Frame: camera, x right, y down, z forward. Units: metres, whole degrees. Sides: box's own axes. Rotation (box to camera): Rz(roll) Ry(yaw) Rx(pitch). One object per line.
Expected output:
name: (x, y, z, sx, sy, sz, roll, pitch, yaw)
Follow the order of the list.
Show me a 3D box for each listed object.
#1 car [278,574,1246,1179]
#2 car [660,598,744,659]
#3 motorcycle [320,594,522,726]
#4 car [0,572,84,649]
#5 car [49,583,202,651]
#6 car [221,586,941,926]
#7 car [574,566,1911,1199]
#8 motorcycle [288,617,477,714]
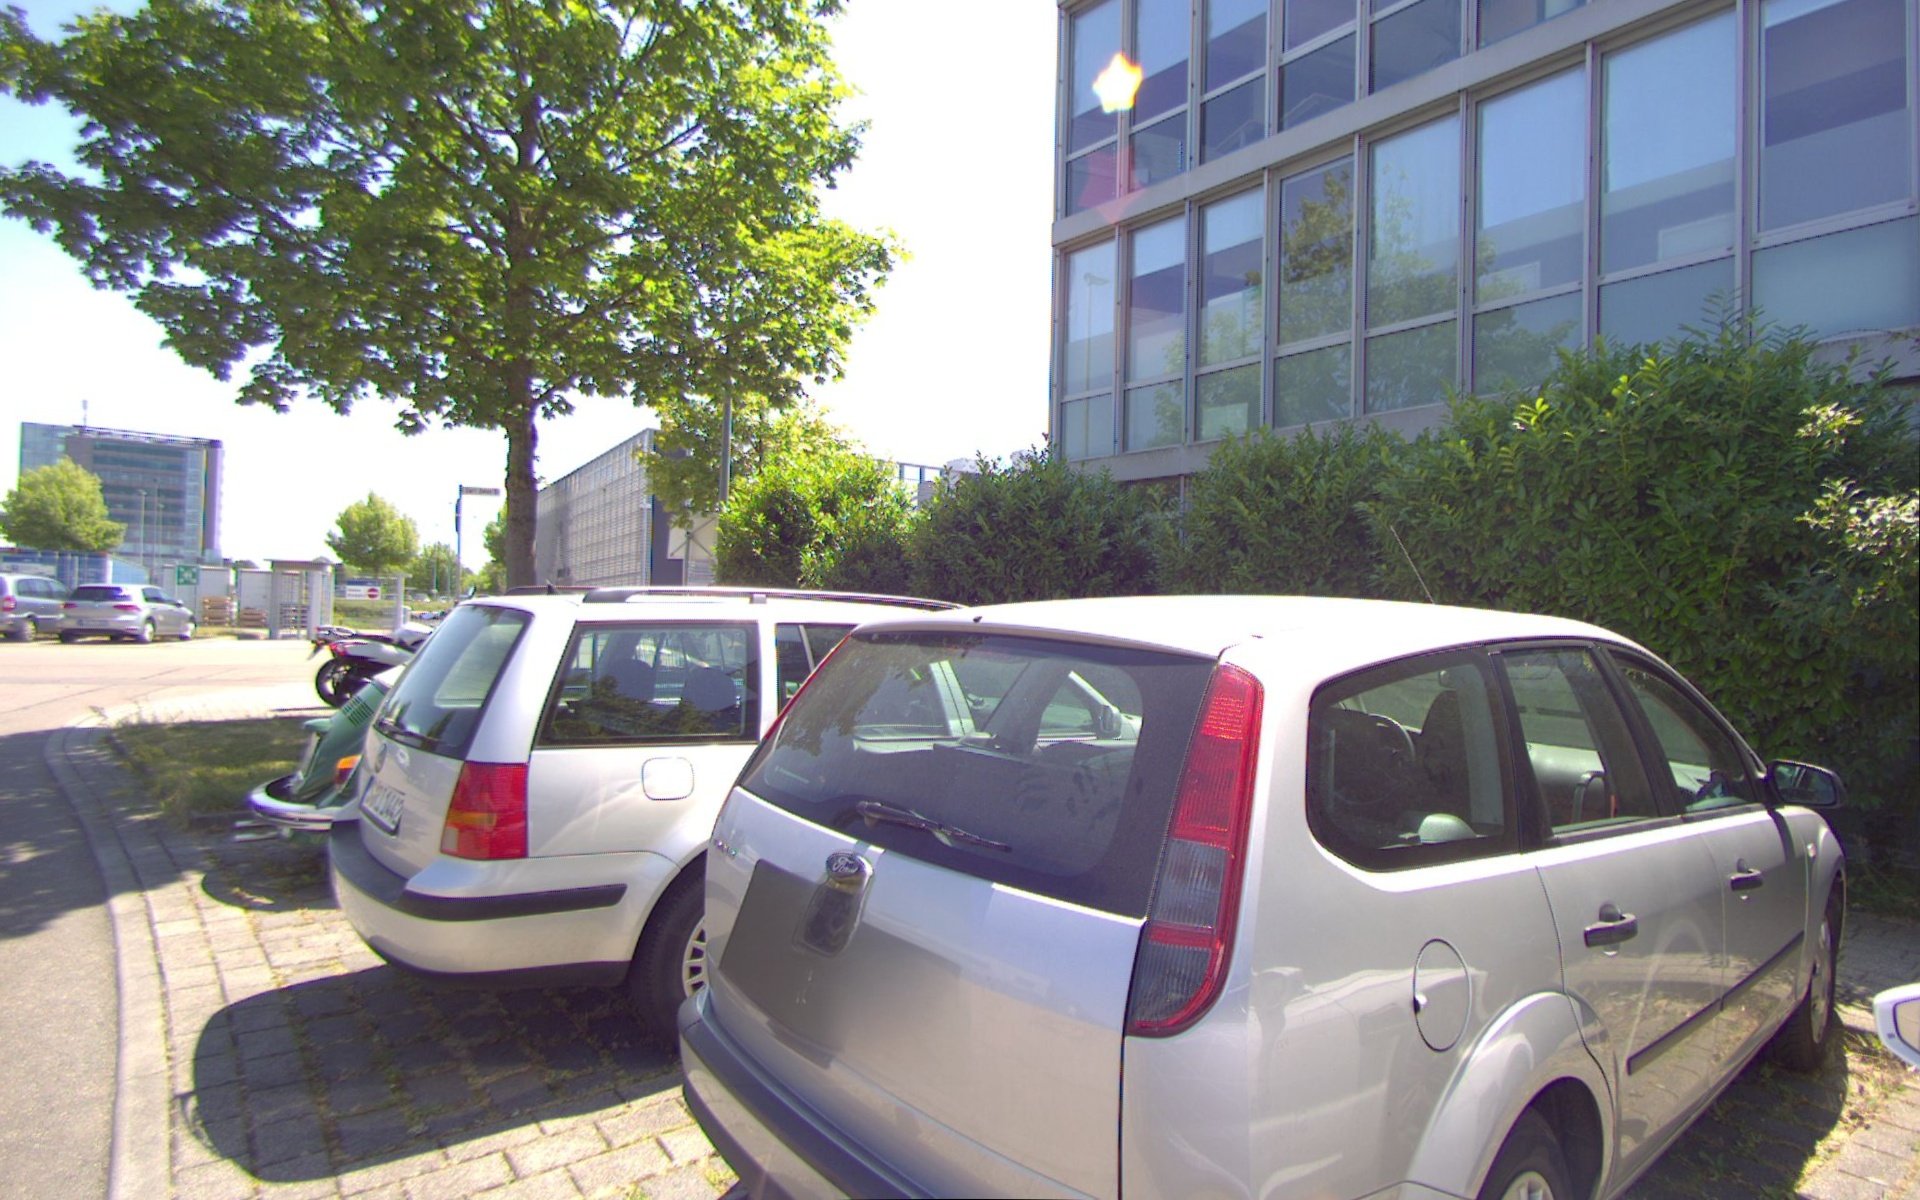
car: (-0.541, 0.734, 4.402, 3.863, 1.499, 1.632, 2, -1, -42)
car: (-7.538, 0.795, 29.062, 1.970, 1.616, 3.982, 1, -1, -20)
motorcycle: (-6.136, 0.658, 11.531, 1.975, 1.408, 0.478, 1, 0, -42)
car: (-23.409, 0.220, 24.804, 1.750, 1.761, 3.971, 2, -1, -28)
car: (-21.066, 0.410, 25.556, 1.628, 1.542, 3.983, 2, -1, -19)
car: (-2.115, 0.723, 6.253, 3.863, 1.468, 1.632, 2, -1, -42)
car: (1.315, 0.774, 3.035, 4.311, 1.499, 1.705, 2, -1, -39)
motorcycle: (-7.144, 0.782, 12.513, 1.975, 1.123, 0.478, 2, 0, -42)
